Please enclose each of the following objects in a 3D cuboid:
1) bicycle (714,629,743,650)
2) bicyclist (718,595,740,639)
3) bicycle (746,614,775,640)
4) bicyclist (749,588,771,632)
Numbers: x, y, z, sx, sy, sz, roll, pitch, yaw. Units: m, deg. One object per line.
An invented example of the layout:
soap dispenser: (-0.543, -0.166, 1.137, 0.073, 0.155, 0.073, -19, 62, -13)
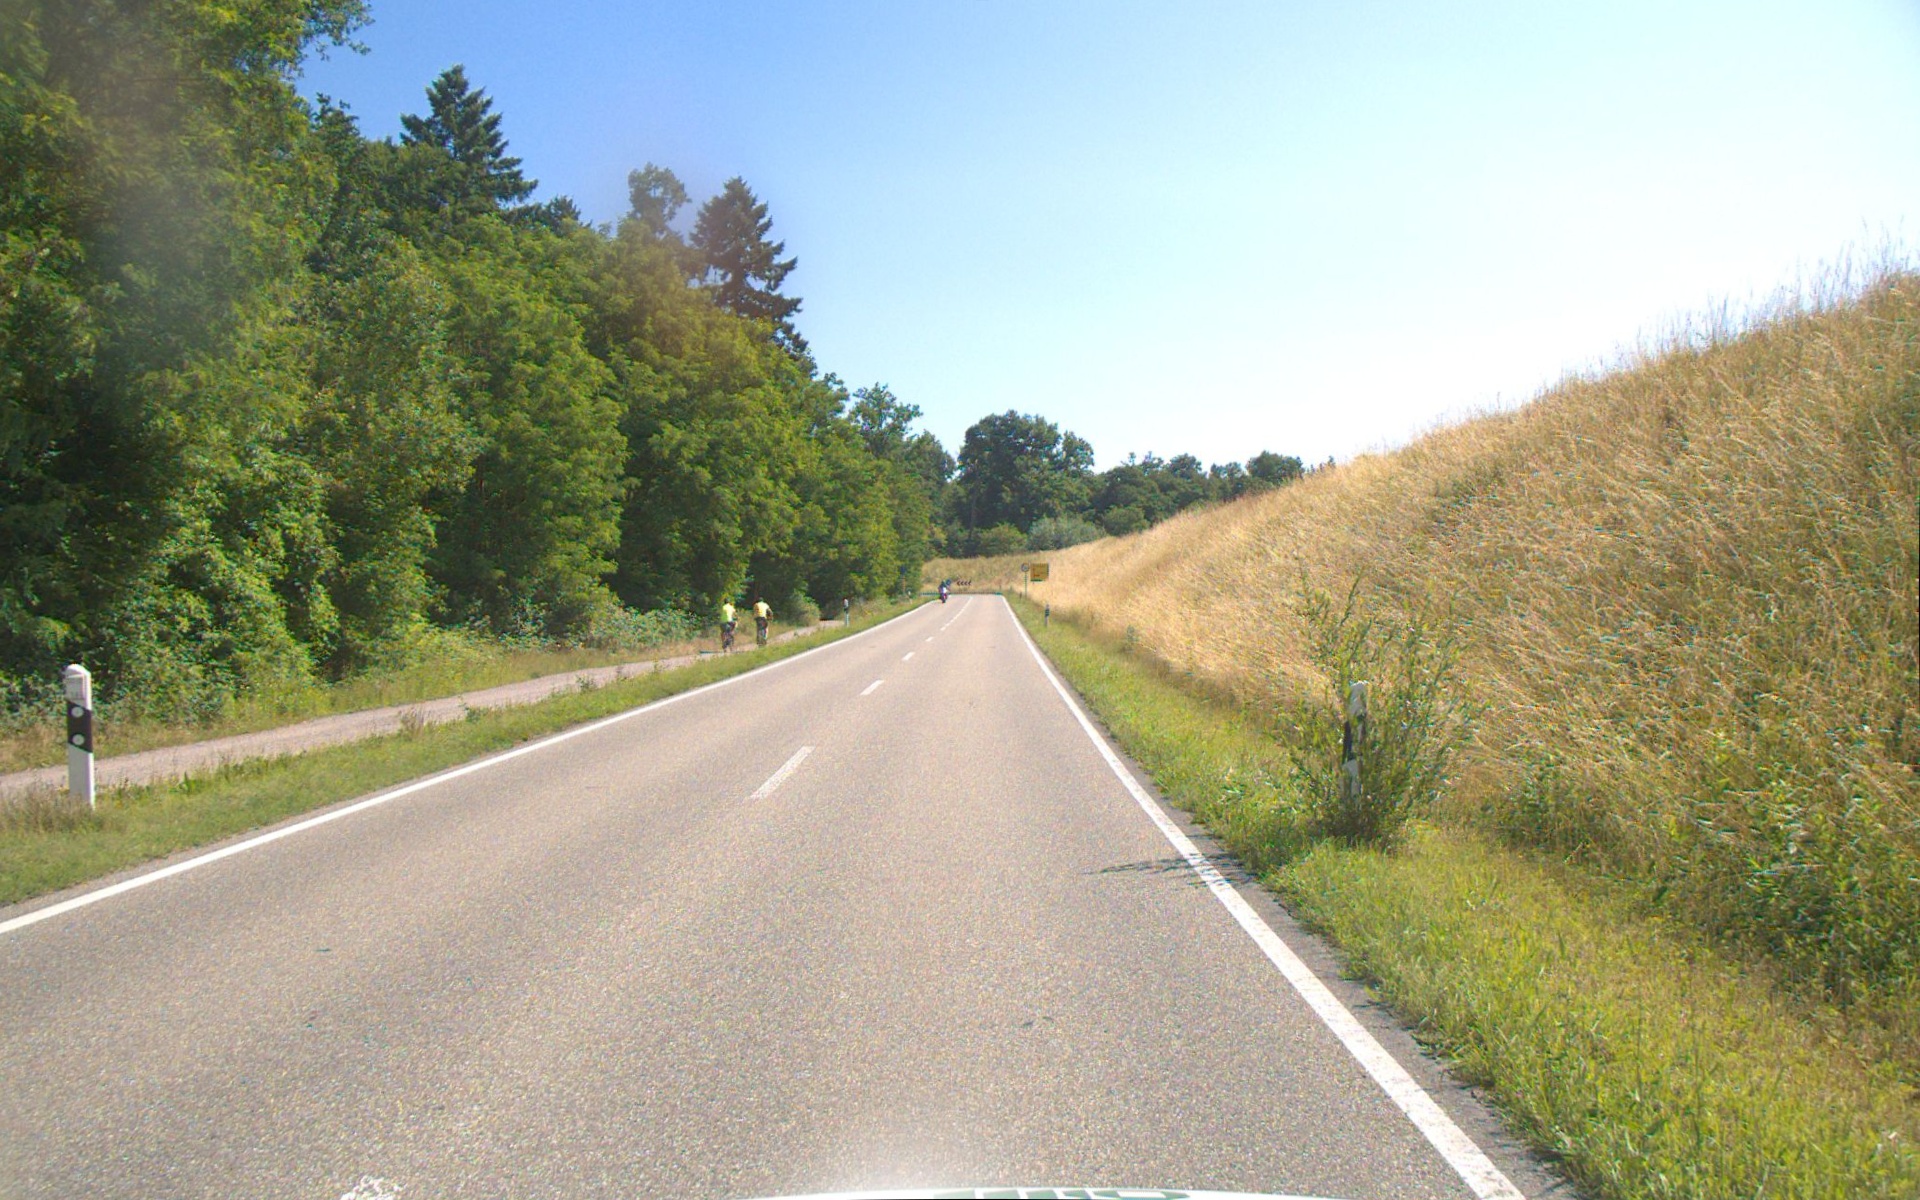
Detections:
bicycle: (-7.772, 1.320, 55.550, 0.606, 0.693, 2.137, 1, -1, 1)
bicyclist: (-7.775, 0.583, 55.582, 0.592, 1.440, 0.702, 1, -1, 1)
bicycle: (-6.643, 0.887, 55.201, 0.627, 0.802, 2.137, -2, 0, 1)
bicyclist: (-6.663, 0.325, 55.182, 0.592, 1.440, 0.703, -2, 0, 1)
